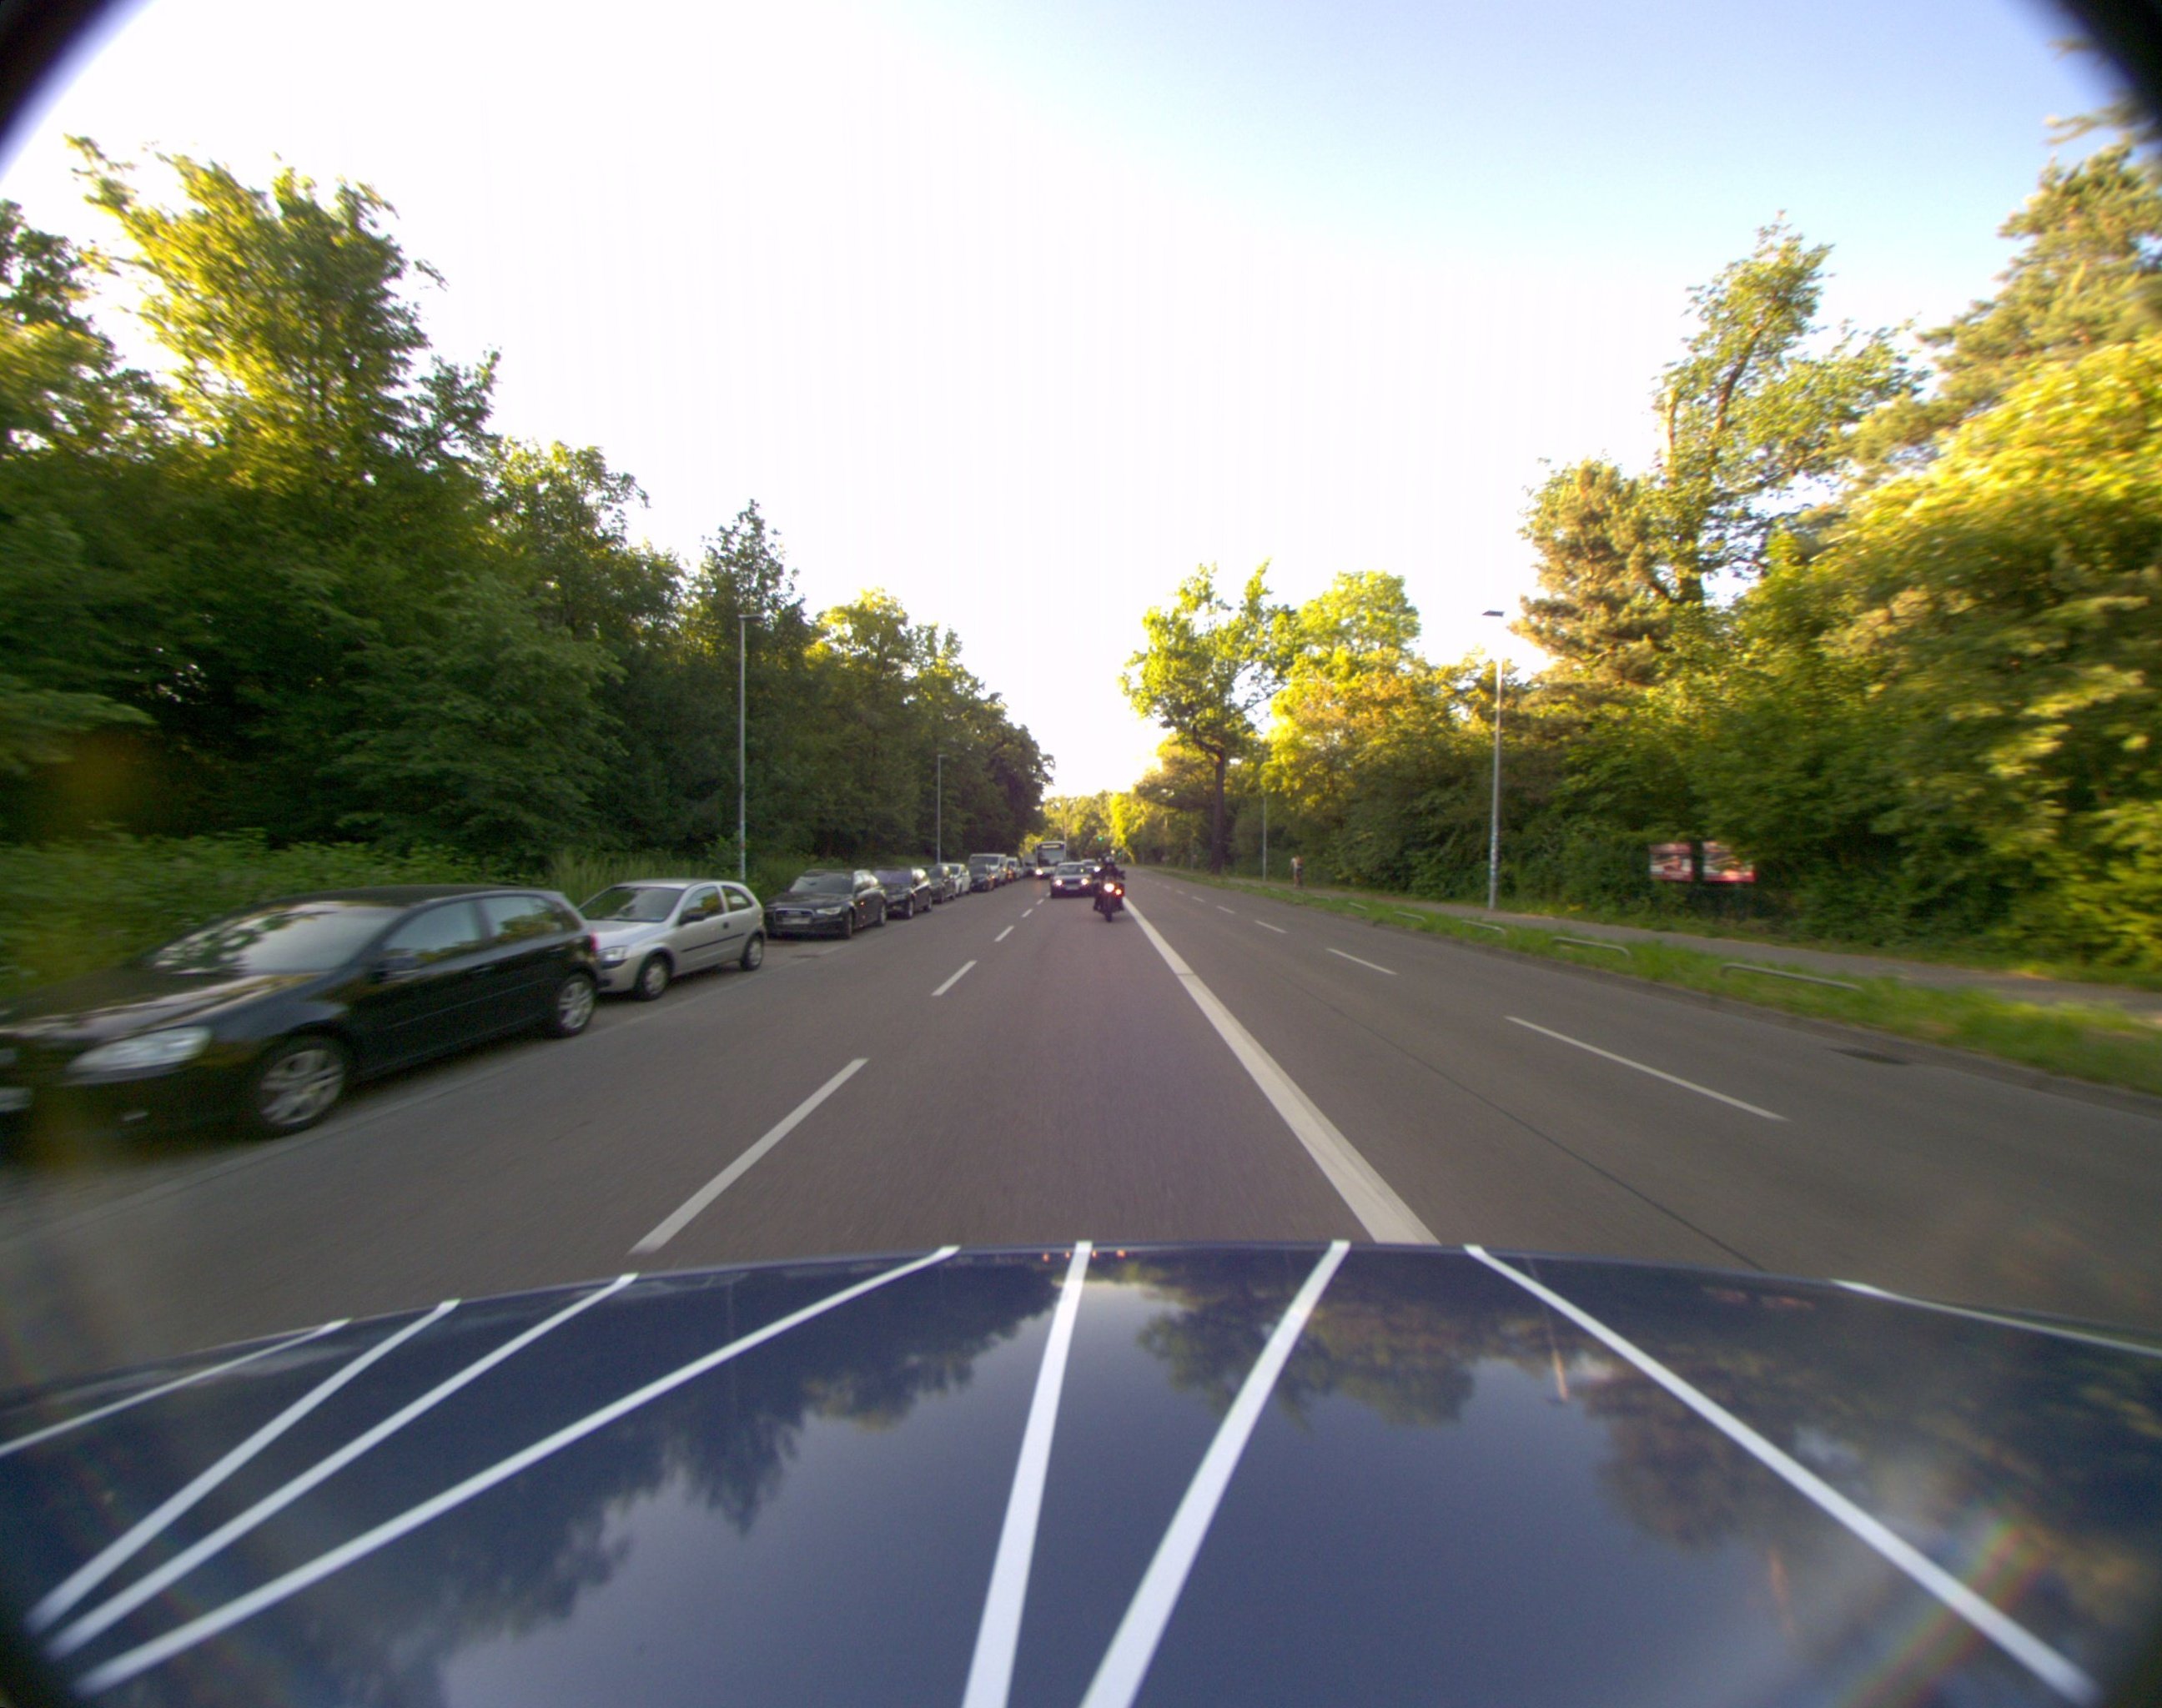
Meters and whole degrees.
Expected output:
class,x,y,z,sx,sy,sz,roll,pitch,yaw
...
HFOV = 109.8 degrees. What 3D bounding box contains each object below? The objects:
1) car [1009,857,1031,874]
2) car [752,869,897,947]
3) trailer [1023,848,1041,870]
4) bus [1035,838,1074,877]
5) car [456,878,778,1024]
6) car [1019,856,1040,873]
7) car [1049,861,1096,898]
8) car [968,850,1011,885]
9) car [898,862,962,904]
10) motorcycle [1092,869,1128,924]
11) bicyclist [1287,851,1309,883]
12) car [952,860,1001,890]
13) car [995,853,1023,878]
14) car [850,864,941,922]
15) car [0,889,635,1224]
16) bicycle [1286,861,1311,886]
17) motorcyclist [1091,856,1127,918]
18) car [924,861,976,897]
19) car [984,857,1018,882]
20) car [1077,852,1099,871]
class,x,y,z,sx,sy,sz,roll,pitch,yaw
car,-5.500,1.037,68.927,1.589,1.487,3.180,1,1,2
car,-5.822,1.145,17.946,1.779,1.445,5.037,1,1,-1
trailer,-5.583,0.532,87.280,1.909,2.409,5.125,0,1,-1
bus,-2.194,0.244,67.003,2.812,3.030,12.885,-1,0,0
car,-5.960,1.133,10.431,1.778,1.445,4.015,1,1,4
car,-5.058,1.029,75.143,1.763,1.526,4.988,1,1,-1
car,-0.295,1.007,31.557,1.678,1.351,3.995,-1,1,3
car,-5.469,0.780,46.046,1.873,1.969,5.474,1,1,1
car,-5.802,1.076,29.543,1.589,1.445,3.943,1,1,1
motorcycle,0.695,1.013,19.034,0.830,1.212,2.603,-1,0,1
bicyclist,10.946,0.646,38.350,0.714,1.550,1.142,-2,1,0
car,-5.373,1.065,39.566,1.873,1.398,4.369,1,1,1
car,-5.488,0.838,58.601,1.763,1.794,4.736,1,1,-1
car,-5.539,1.104,23.286,1.641,1.445,4.897,1,1,-1
car,-5.770,1.128,6.045,1.778,1.445,4.388,1,1,1
bicycle,10.956,0.978,38.359,0.714,1.141,1.993,-2,1,0
motorcyclist,0.691,0.803,19.030,0.830,1.484,1.024,-1,1,0
car,-5.873,1.088,34.499,1.589,1.445,3.798,1,1,2
car,-5.477,1.040,52.332,1.763,1.538,4.428,1,1,1
car,0.620,0.608,65.138,1.678,1.552,3.995,-1,1,3
